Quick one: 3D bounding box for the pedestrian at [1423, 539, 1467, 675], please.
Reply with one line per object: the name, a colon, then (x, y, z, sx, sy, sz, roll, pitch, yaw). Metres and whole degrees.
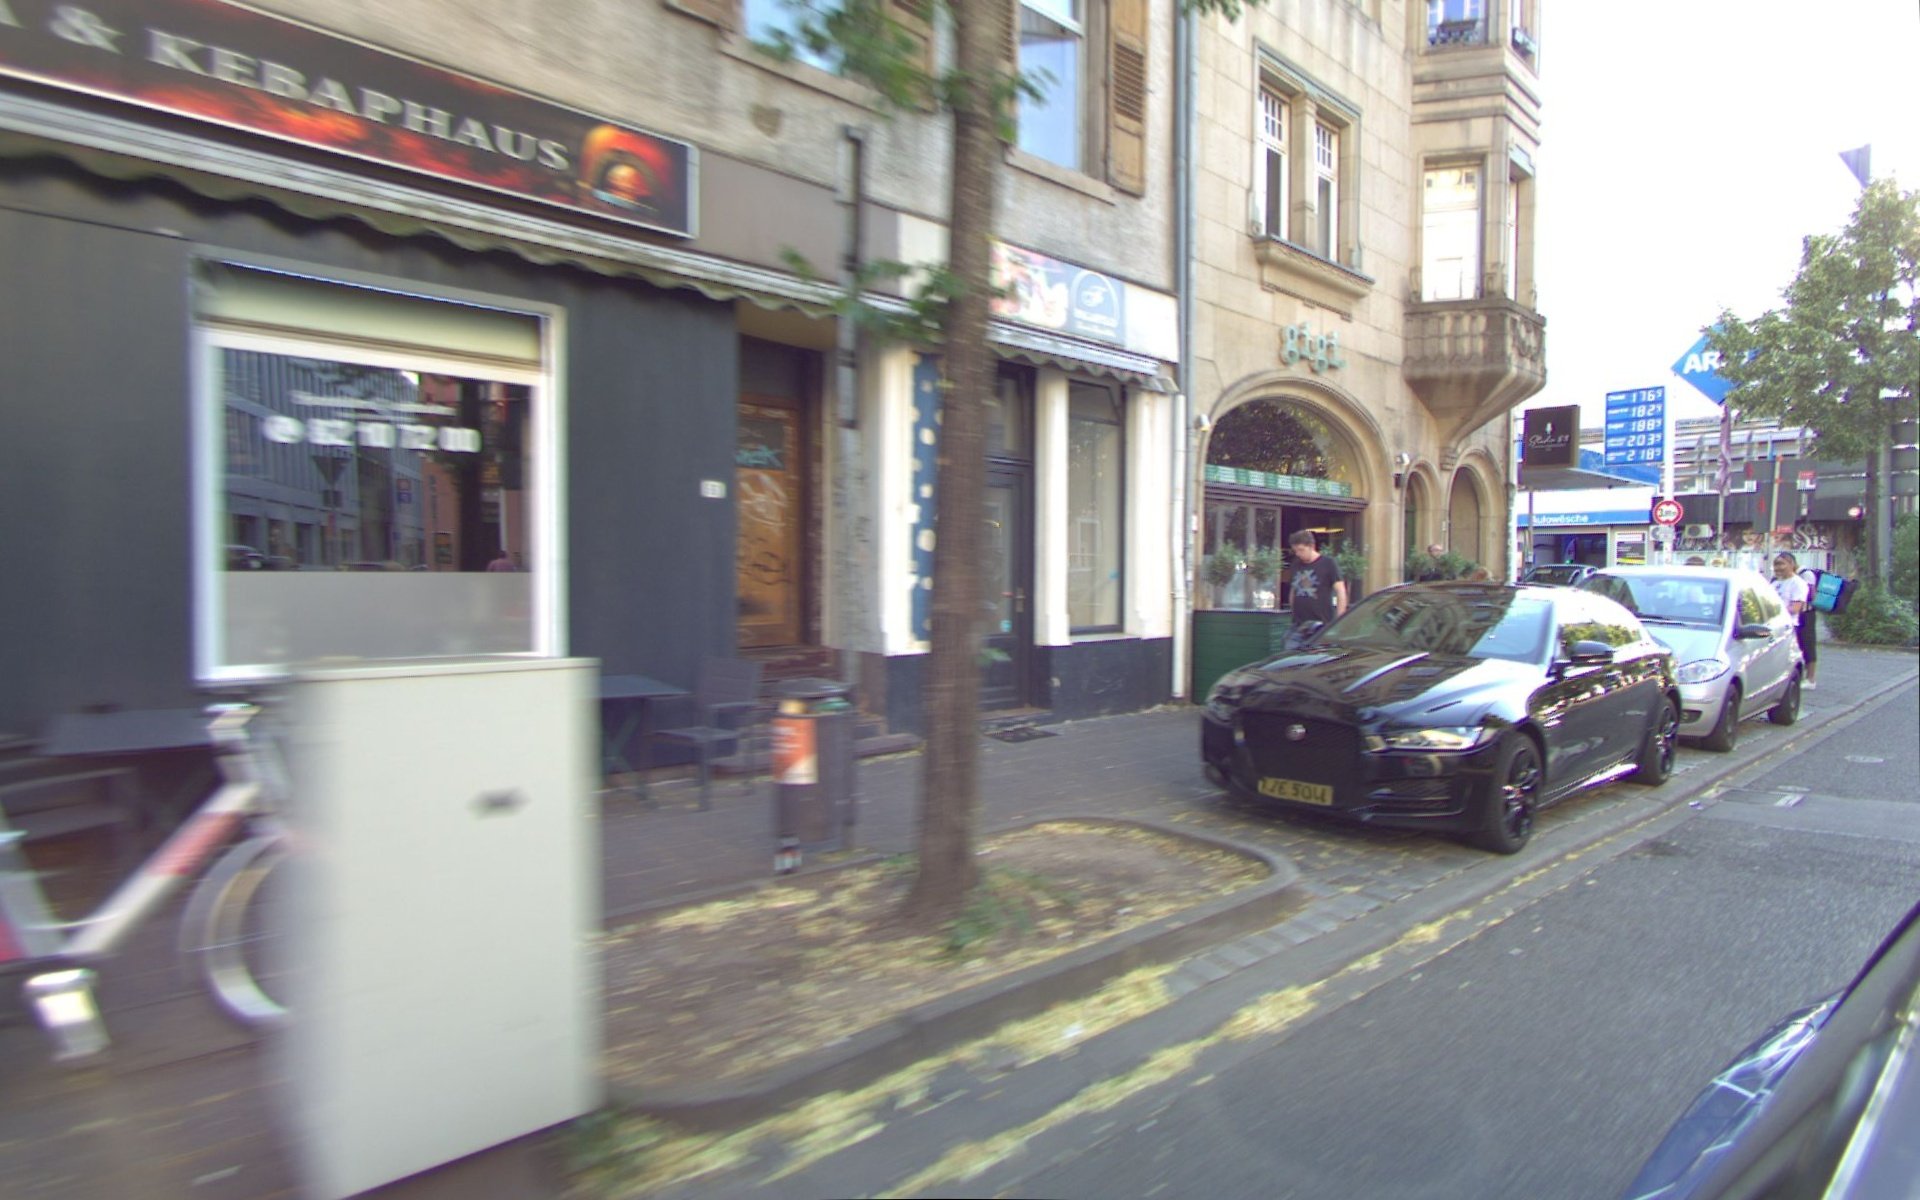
pedestrian: (6.907, 0.089, 14.423, 0.458, 1.898, 0.495, 2, 1, 34)

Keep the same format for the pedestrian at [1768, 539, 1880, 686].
pedestrian: (11.516, 0.134, 13.529, 1.013, 1.847, 0.769, 4, 4, 40)

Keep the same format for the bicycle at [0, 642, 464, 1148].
bicycle: (-2.506, 0.760, 2.837, 1.866, 1.125, 0.780, -2, 4, -41)

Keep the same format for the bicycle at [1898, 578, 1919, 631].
bicycle: (22.438, 0.117, 23.136, 1.646, 1.156, 0.485, 1, 3, -10)

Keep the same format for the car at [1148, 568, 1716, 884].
car: (3.397, 0.535, 6.832, 4.445, 1.392, 1.789, -1, 4, -41)

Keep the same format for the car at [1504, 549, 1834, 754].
car: (7.127, 0.354, 10.027, 3.943, 1.594, 1.691, -1, 4, -41)

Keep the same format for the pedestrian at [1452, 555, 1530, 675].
pedestrian: (7.293, 0.186, 13.906, 0.689, 1.581, 0.660, -1, 4, -40)

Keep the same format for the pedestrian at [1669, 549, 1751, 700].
pedestrian: (9.011, 0.265, 12.187, 0.675, 1.726, 0.815, 4, 4, 35)

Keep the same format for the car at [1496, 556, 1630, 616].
car: (16.589, -0.441, 27.743, 4.824, 1.448, 1.738, -3, 4, -41)

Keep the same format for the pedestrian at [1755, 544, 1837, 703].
pedestrian: (9.749, 0.243, 11.818, 0.676, 1.775, 0.814, 2, 2, 39)

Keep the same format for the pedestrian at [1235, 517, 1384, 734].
pedestrian: (3.264, 0.190, 9.442, 1.078, 1.876, 0.824, -1, 4, -42)

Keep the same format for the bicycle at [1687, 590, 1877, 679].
bicycle: (11.449, 0.462, 14.147, 1.889, 1.112, 0.868, 2, 3, -1)

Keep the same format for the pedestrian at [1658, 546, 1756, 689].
pedestrian: (9.358, 0.198, 12.702, 0.642, 1.720, 0.667, 2, 3, 5)
